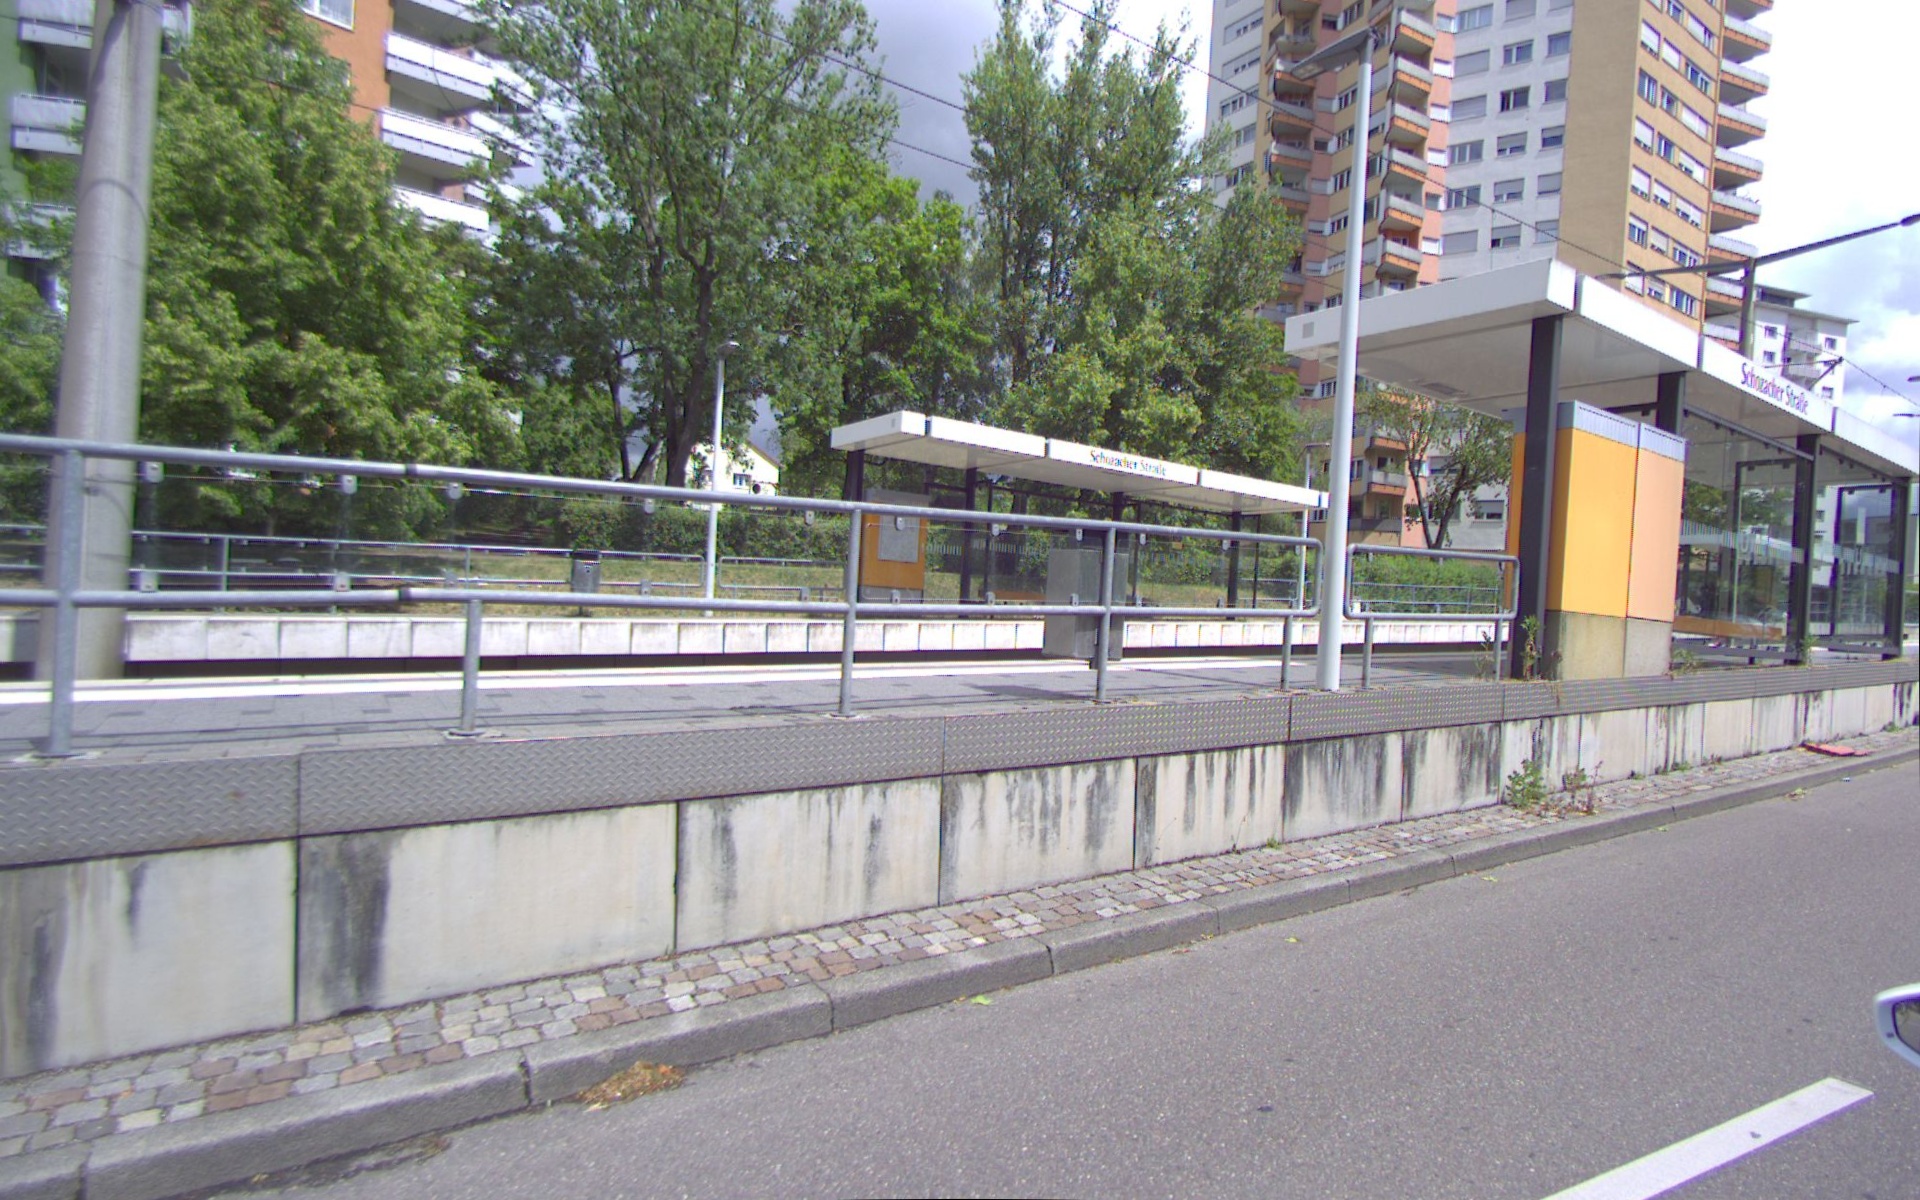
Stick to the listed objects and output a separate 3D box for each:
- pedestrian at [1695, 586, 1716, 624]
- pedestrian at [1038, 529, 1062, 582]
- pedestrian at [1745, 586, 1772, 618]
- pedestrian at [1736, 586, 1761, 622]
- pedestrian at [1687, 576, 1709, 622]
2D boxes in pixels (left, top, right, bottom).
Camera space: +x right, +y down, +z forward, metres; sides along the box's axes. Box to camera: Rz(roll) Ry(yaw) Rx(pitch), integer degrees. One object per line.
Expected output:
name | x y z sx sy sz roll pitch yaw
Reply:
pedestrian | 27.706 0.184 37.328 0.518 1.397 0.536 5 -3 -44
pedestrian | 3.015 -1.482 33.610 0.499 1.735 0.646 1 0 -35
pedestrian | 31.575 0.090 39.719 0.512 1.253 0.737 1 0 -35
pedestrian | 30.855 0.158 39.323 0.502 1.387 0.639 1 0 -35
pedestrian | 27.109 -0.034 36.890 0.511 1.666 0.564 1 0 22
